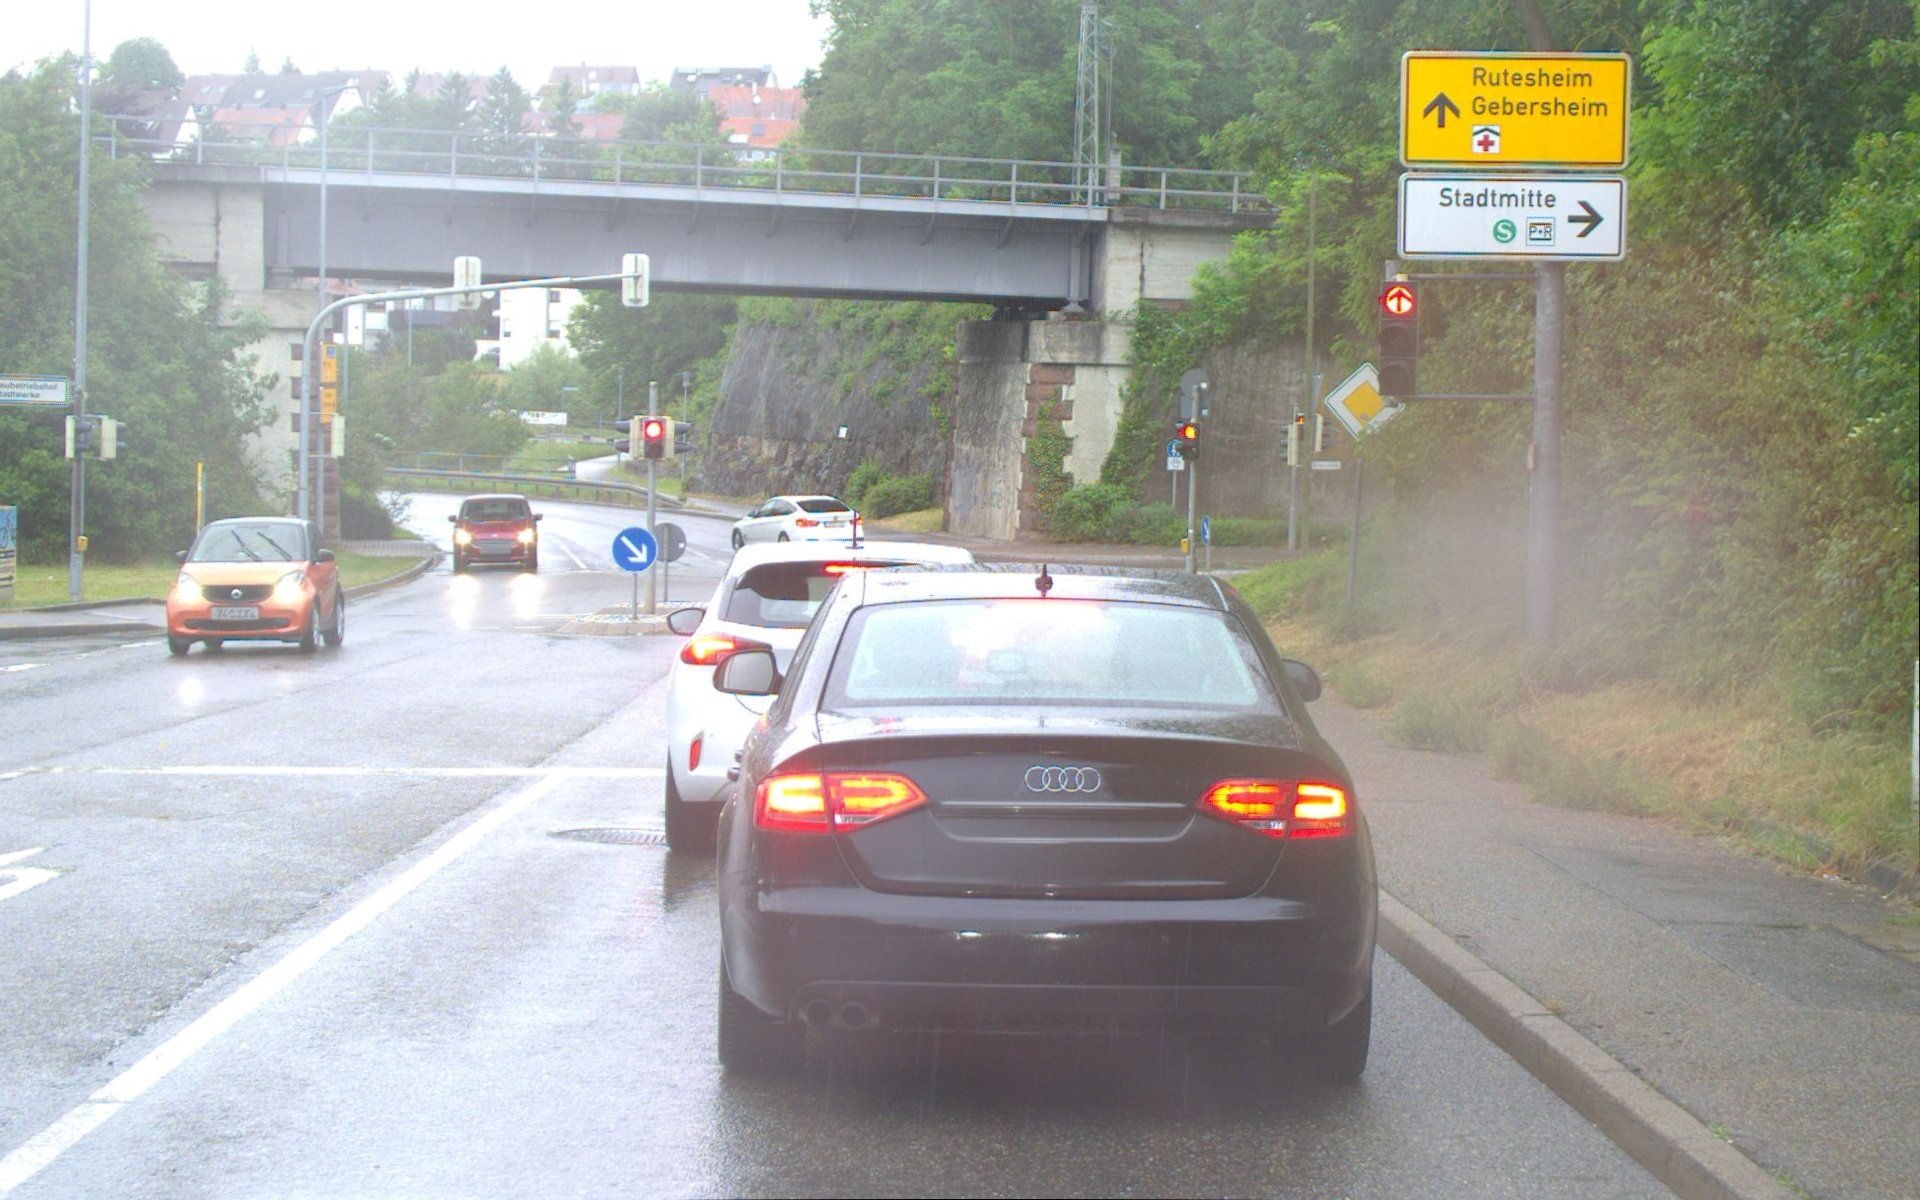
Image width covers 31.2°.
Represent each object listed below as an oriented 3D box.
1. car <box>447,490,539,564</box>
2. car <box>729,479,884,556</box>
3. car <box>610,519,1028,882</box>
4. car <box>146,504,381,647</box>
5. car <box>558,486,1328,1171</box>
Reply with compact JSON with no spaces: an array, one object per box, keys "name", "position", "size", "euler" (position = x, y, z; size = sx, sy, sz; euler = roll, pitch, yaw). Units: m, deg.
[{"name":"car","position":[-10.554,-1.650,77.823],"size":[1.993,1.622,4.001],"euler":[-1,1,-7]},{"name":"car","position":[-3.701,-1.945,82.240],"size":[1.804,1.736,4.480],"euler":[0,0,-31]},{"name":"car","position":[-0.644,0.433,17.055],"size":[1.823,1.579,4.000],"euler":[0,0,-1]},{"name":"car","position":[-8.124,-0.281,40.412],"size":[1.993,1.579,4.000],"euler":[0,0,-1]},{"name":"car","position":[-0.072,0.497,10.386],"size":[1.870,1.611,4.001],"euler":[0,3,-1]}]
